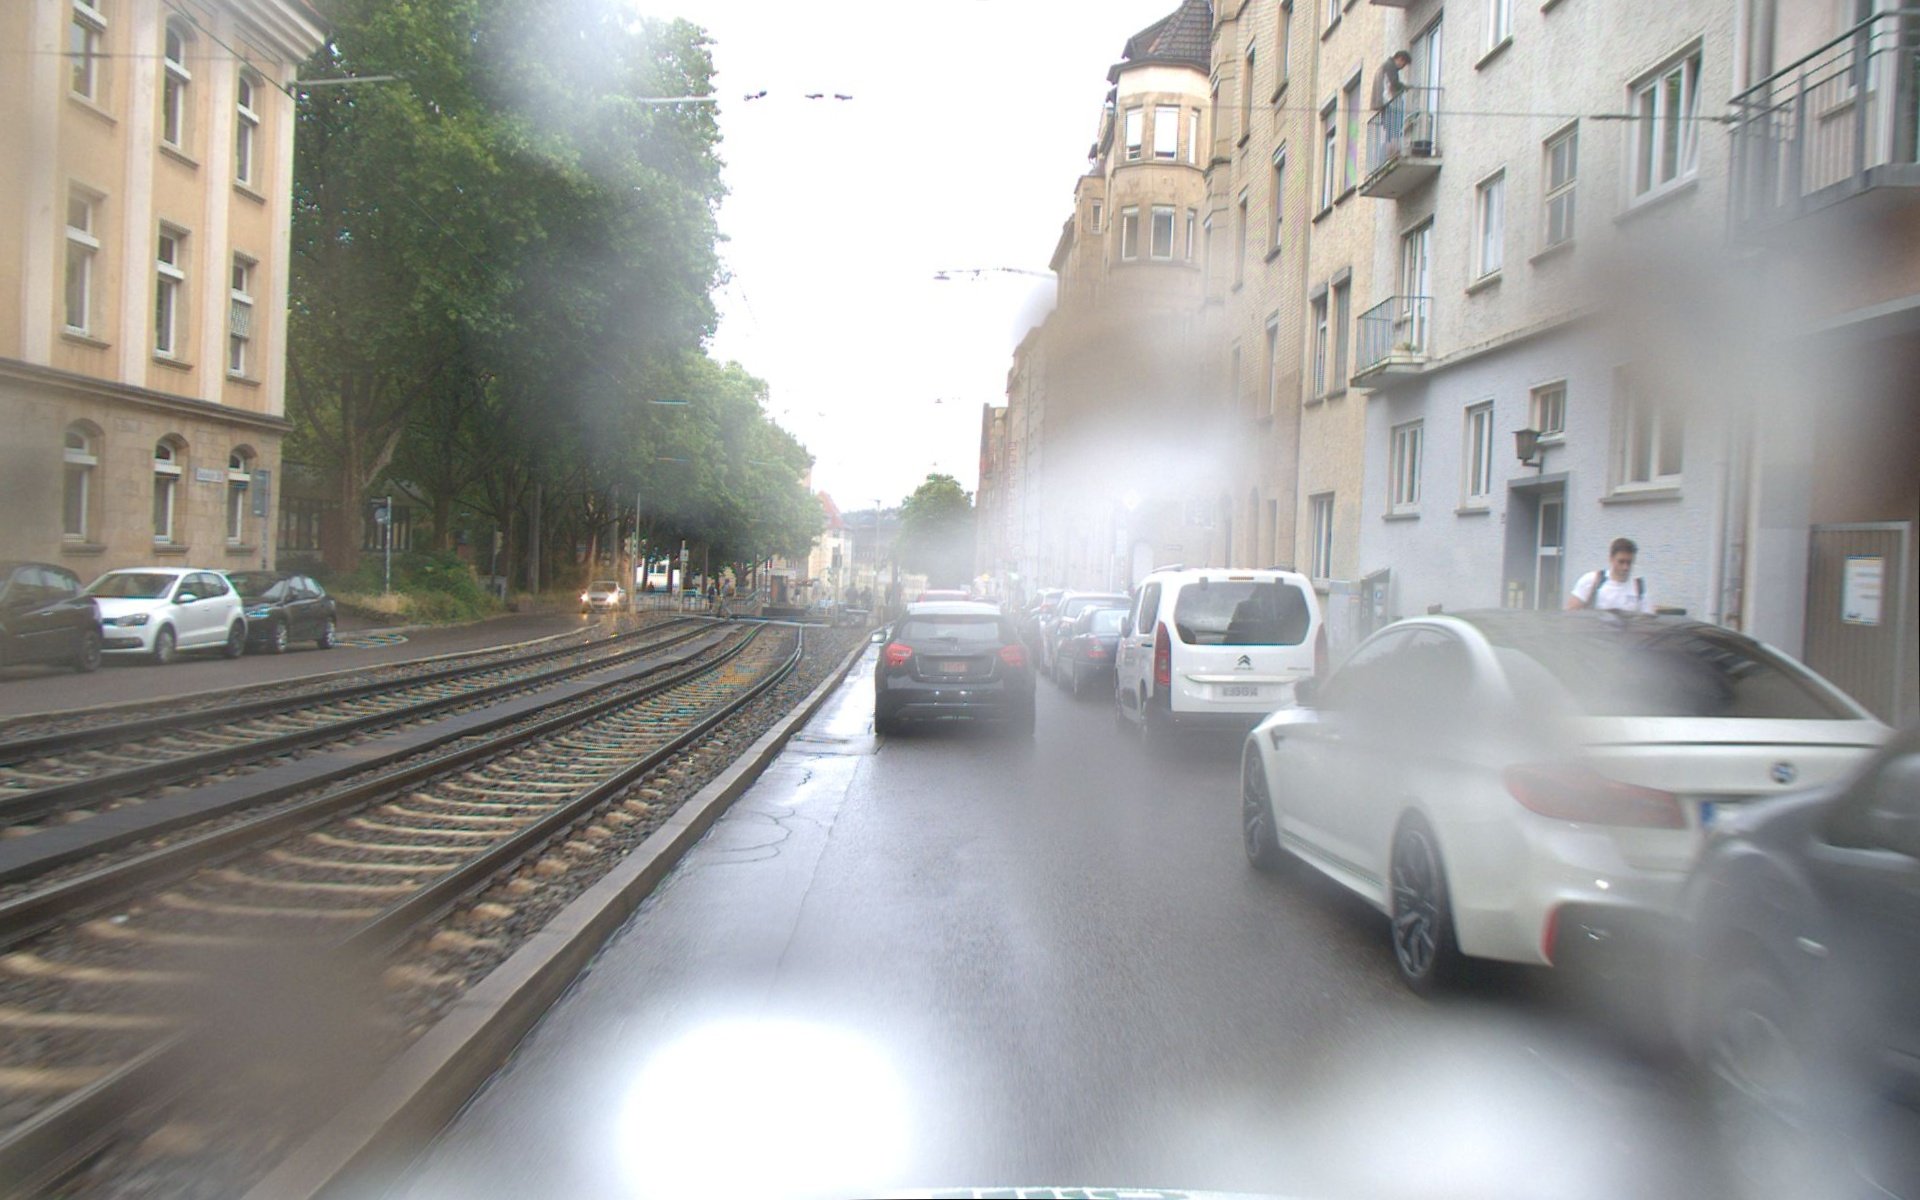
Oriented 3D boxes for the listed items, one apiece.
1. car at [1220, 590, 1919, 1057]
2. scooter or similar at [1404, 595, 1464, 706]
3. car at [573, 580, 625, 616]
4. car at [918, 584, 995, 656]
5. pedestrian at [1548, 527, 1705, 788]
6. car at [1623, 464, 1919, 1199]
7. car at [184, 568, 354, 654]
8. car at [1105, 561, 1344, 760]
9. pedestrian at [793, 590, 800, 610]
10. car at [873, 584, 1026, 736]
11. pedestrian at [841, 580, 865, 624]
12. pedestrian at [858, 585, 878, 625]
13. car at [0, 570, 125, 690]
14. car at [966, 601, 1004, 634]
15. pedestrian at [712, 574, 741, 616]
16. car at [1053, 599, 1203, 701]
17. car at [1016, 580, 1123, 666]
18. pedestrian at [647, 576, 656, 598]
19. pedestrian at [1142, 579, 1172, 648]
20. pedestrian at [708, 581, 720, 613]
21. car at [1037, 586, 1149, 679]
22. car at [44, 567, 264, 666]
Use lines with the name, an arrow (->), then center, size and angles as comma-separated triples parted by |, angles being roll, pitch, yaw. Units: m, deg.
car -> 2.632, 0.715, 7.789 | 1.834, 1.481, 4.900 | 1, 0, -2
scooter or similar -> 5.851, 0.607, 20.460 | 0.379, 1.320, 1.171 | 1, 0, -1
car -> -16.291, -0.105, 74.830 | 1.782, 1.531, 4.626 | 2, 0, -7
car -> -0.124, 0.463, 40.151 | 1.749, 1.609, 3.999 | 1, 0, -1
pedestrian -> 4.983, 0.412, 12.428 | 0.730, 1.866, 1.039 | -1, 0, 0
car -> 2.899, 0.621, 2.801 | 1.755, 1.796, 4.210 | 0, 0, -2
car -> -12.570, 0.178, 30.334 | 1.582, 1.454, 3.851 | 1, 1, -2
car -> 2.623, 0.549, 17.422 | 1.791, 1.781, 4.467 | 1, 0, 0
pedestrian -> -14.384, -0.001, 145.589 | 0.508, 1.747, 0.551 | 3, 0, -1
car -> -0.155, 0.620, 18.878 | 1.548, 1.531, 3.573 | 1, 0, -2
pedestrian -> -5.022, 0.092, 77.625 | 1.115, 2.033, 1.171 | 0, 0, -5
pedestrian -> -3.853, 0.208, 69.428 | 0.789, 1.662, 0.892 | 0, 0, -1
car -> -12.378, 0.367, 20.864 | 1.640, 1.438, 4.009 | 0, 0, 0
car -> 1.259, 0.882, 84.788 | 1.790, 1.646, 3.863 | 0, 0, -1
pedestrian -> -9.857, -0.212, 69.772 | 1.033, 1.748, 0.904 | 2, 0, 0
car -> 2.494, 0.709, 25.507 | 1.683, 1.370, 4.460 | 2, 0, -2
car -> 2.319, 0.461, 36.048 | 1.731, 1.697, 4.329 | 2, 0, -3
pedestrian -> -24.489, -1.044, 131.279 | 0.542, 1.775, 0.606 | 1, -1, -2
pedestrian -> 5.268, 0.368, 44.222 | 0.680, 1.818, 0.758 | -1, 0, -2
pedestrian -> -14.053, -0.187, 94.609 | 0.523, 1.784, 0.607 | 3, 0, -1
car -> 2.397, 0.563, 30.599 | 1.659, 1.556, 3.999 | 2, 0, -1
car -> -12.435, 0.230, 25.779 | 1.469, 1.415, 3.987 | 0, 0, 0
